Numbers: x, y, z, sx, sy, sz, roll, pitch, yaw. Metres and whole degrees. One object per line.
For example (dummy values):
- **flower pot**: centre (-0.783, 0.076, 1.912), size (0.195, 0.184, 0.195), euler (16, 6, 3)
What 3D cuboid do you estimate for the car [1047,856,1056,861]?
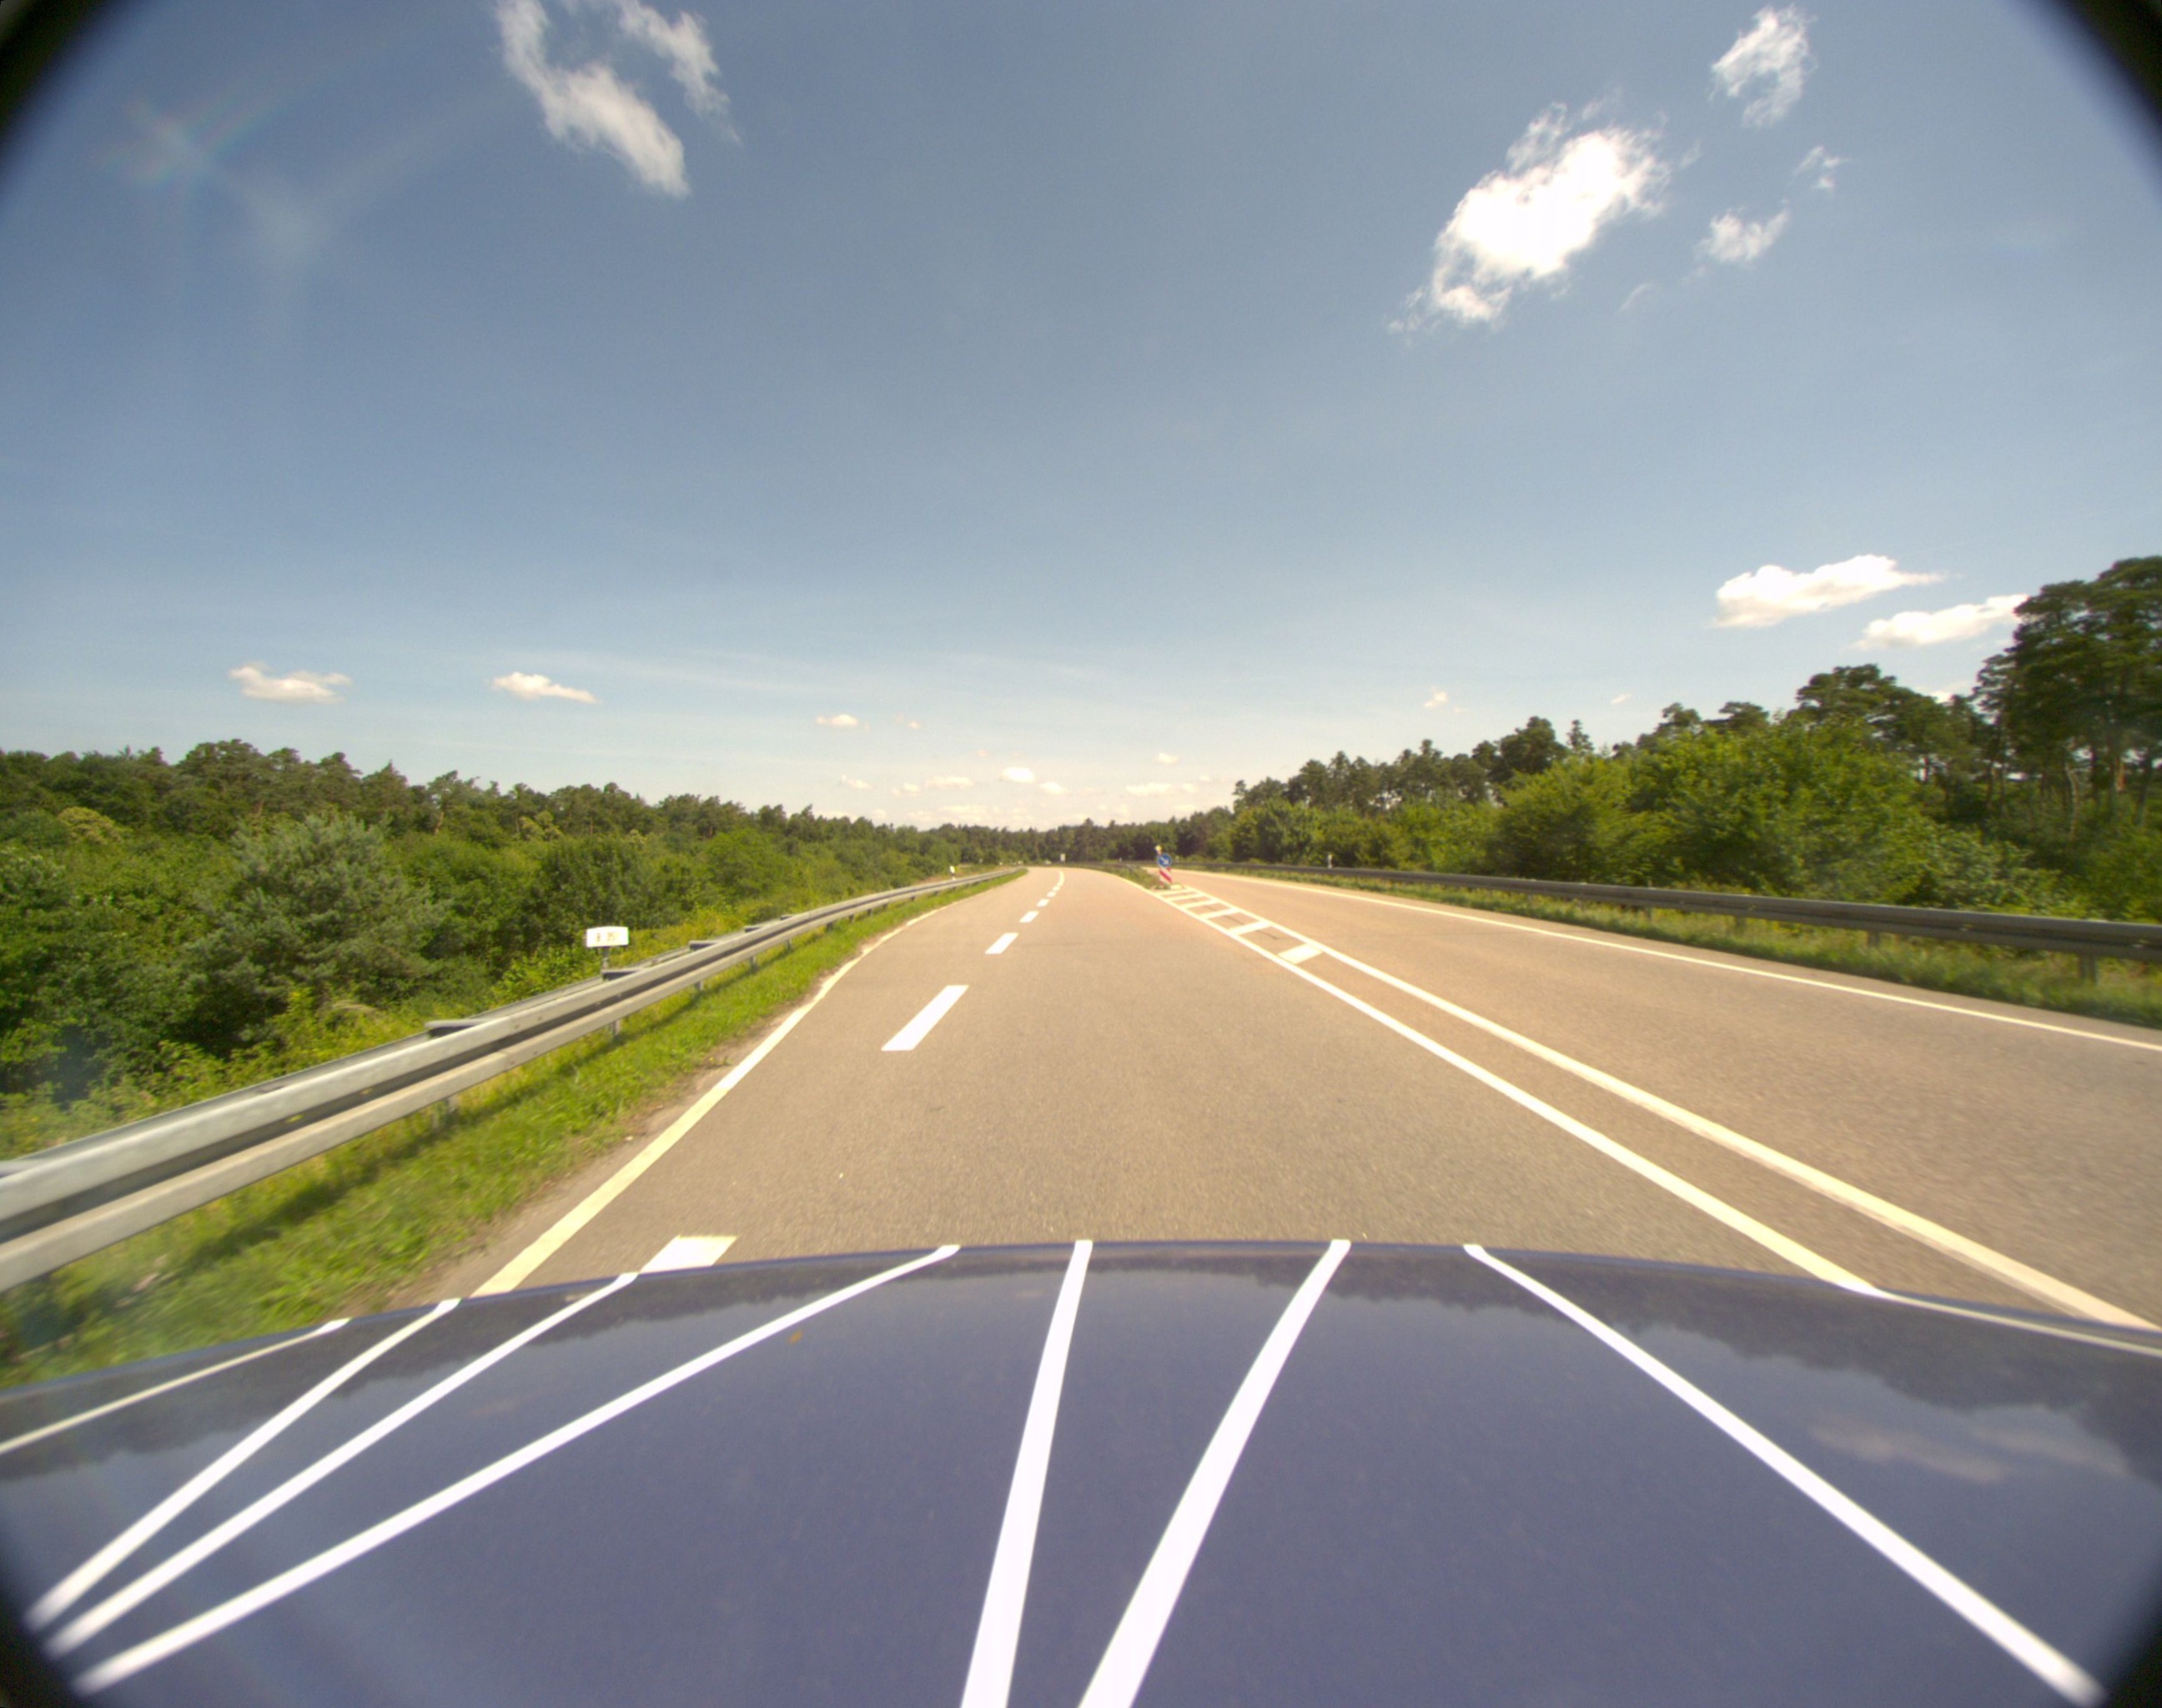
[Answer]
- **car**: centre (-9.257, 1.424, 236.653), size (1.955, 1.405, 4.828), euler (-1, 0, -13)
